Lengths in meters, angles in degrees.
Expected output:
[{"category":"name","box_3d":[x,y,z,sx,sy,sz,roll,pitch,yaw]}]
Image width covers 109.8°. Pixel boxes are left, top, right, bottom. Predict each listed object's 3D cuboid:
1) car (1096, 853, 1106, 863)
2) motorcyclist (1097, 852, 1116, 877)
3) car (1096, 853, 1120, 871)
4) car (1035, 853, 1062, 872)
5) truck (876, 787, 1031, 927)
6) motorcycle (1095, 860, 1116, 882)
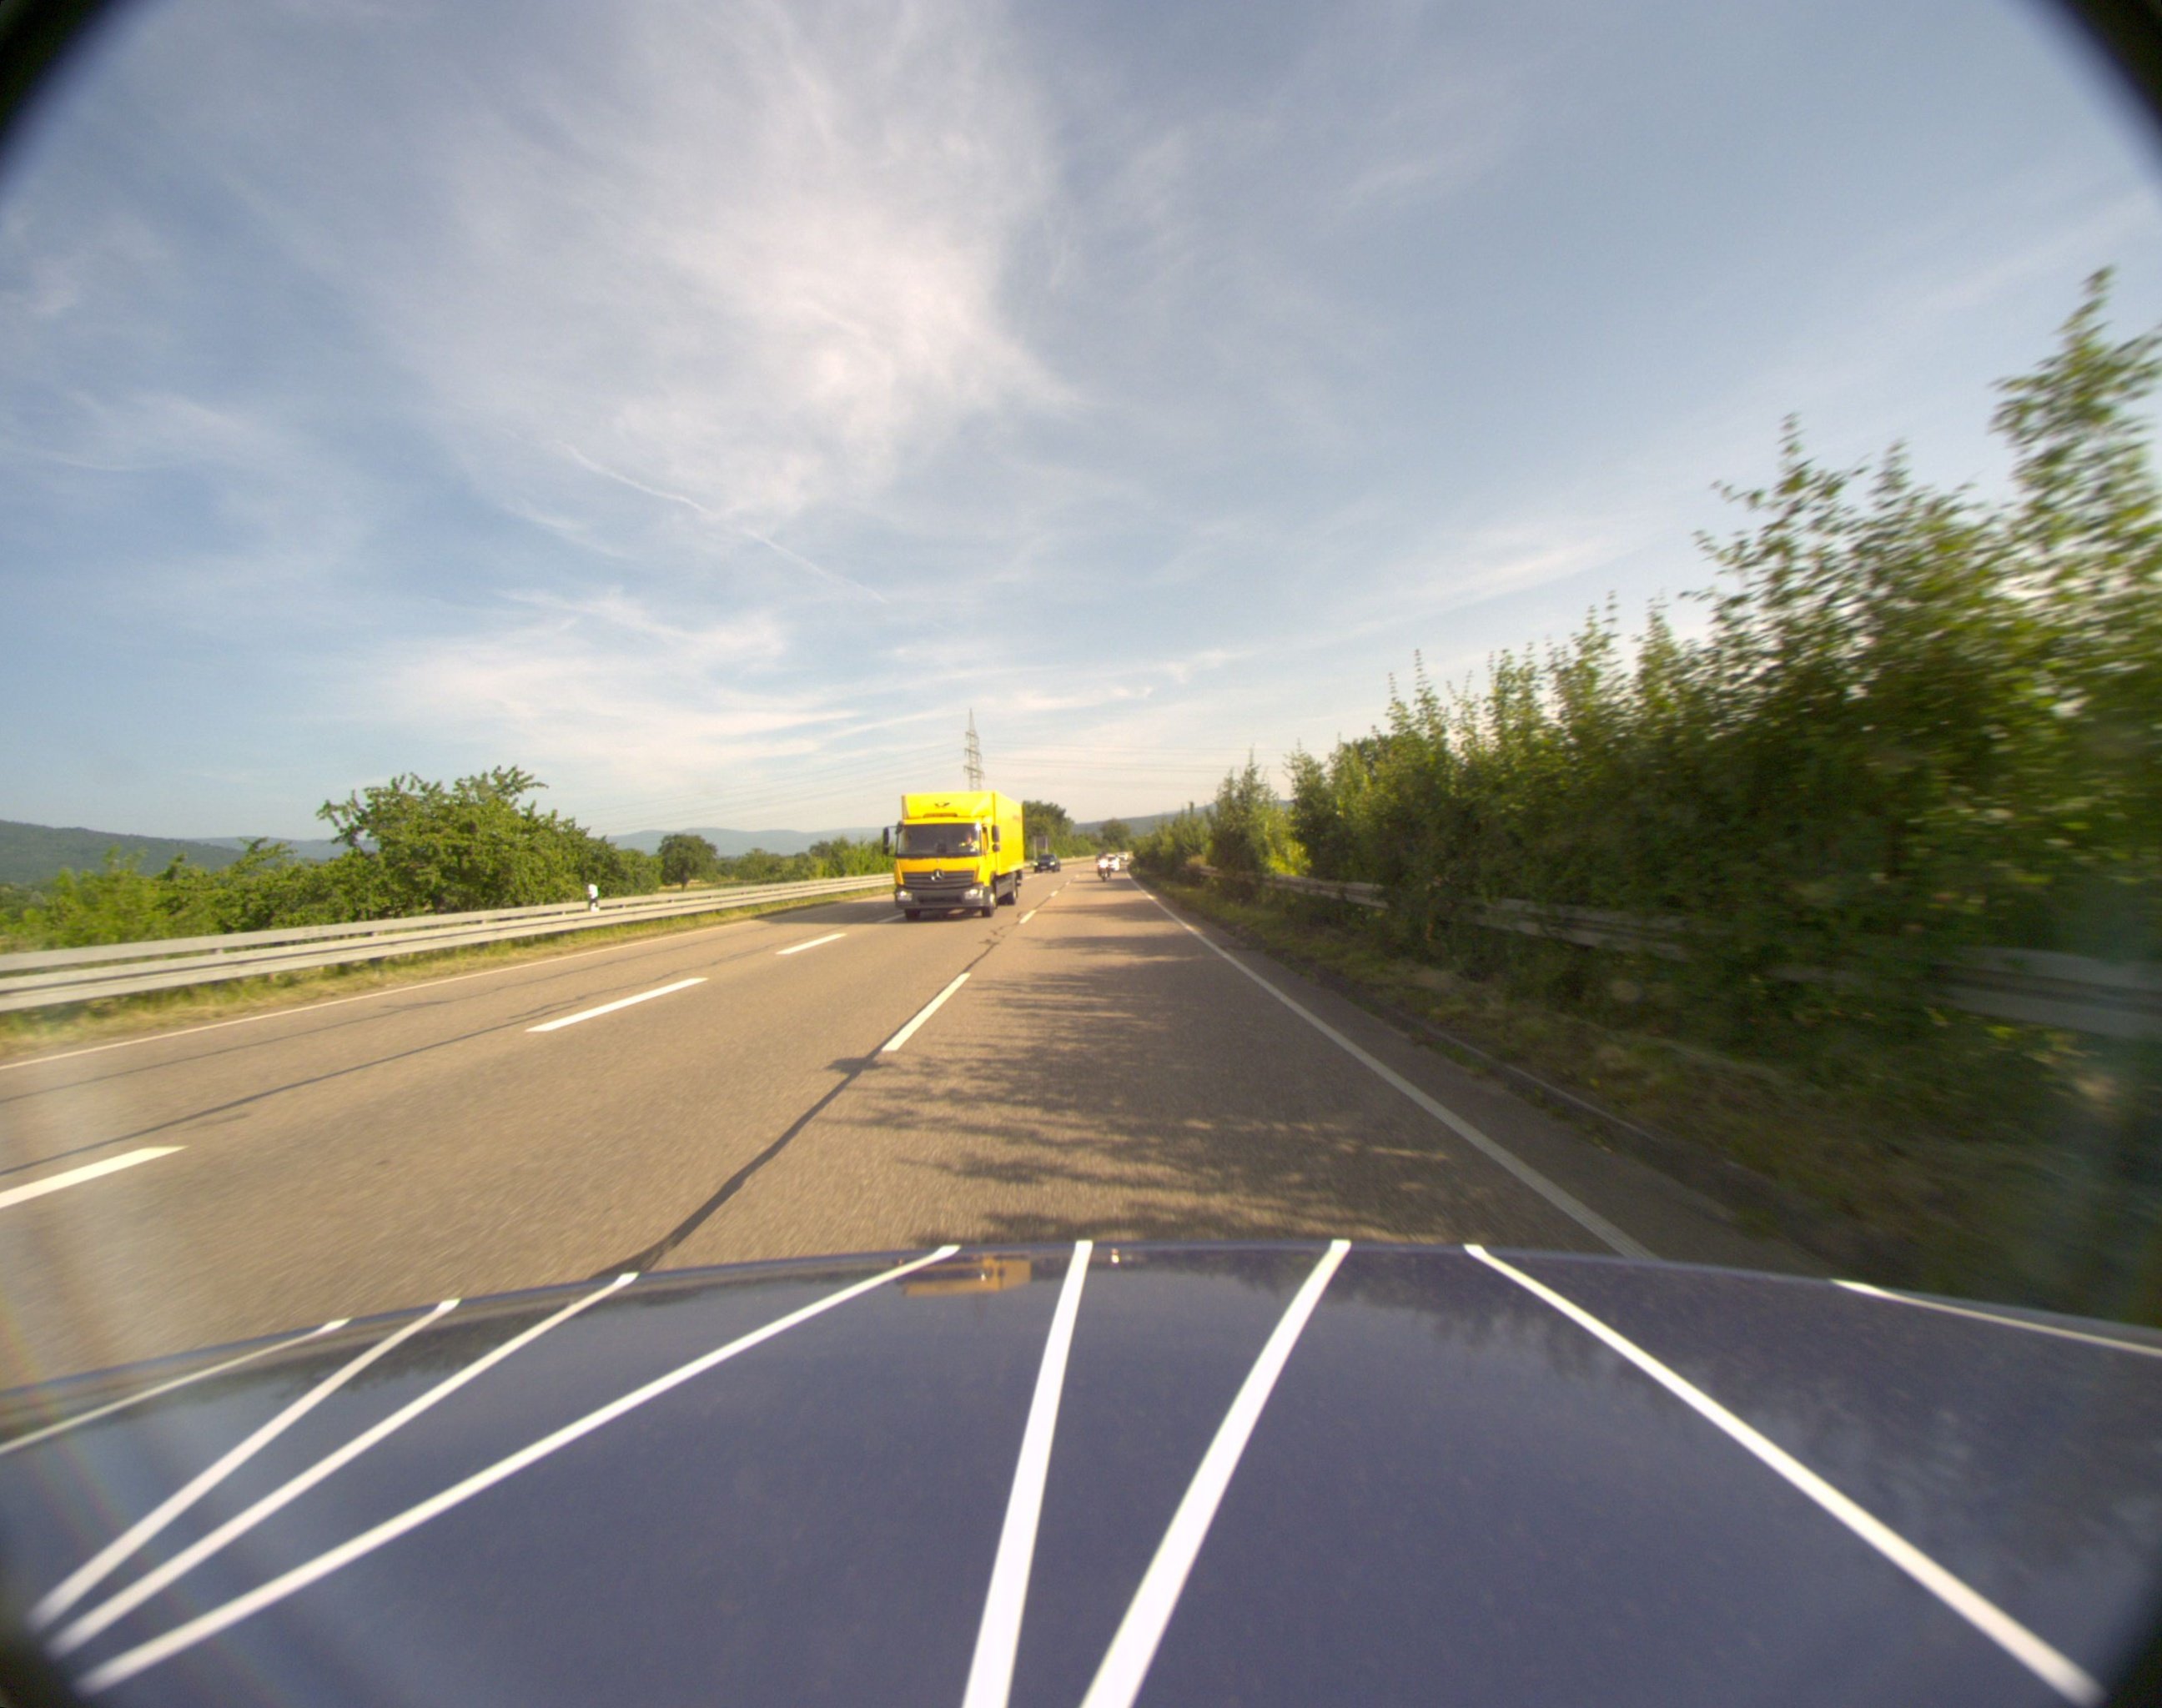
[{"category":"car","box_3d":[3.591,0.721,135.149,1.677,1.541,3.826,-2,1,2]},{"category":"motorcyclist","box_3d":[1.408,0.582,42.376,0.936,1.344,1.143,-2,1,6]},{"category":"car","box_3d":[2.402,0.662,66.048,1.868,1.454,4.085,-2,0,5]},{"category":"car","box_3d":[-2.984,0.776,70.678,1.877,1.630,4.001,-2,1,7]},{"category":"truck","box_3d":[-3.440,0.078,23.698,2.785,3.297,10.490,-2,0,1]},{"category":"motorcycle","box_3d":[1.398,0.934,42.275,0.936,1.132,2.583,-2,1,7]}]
